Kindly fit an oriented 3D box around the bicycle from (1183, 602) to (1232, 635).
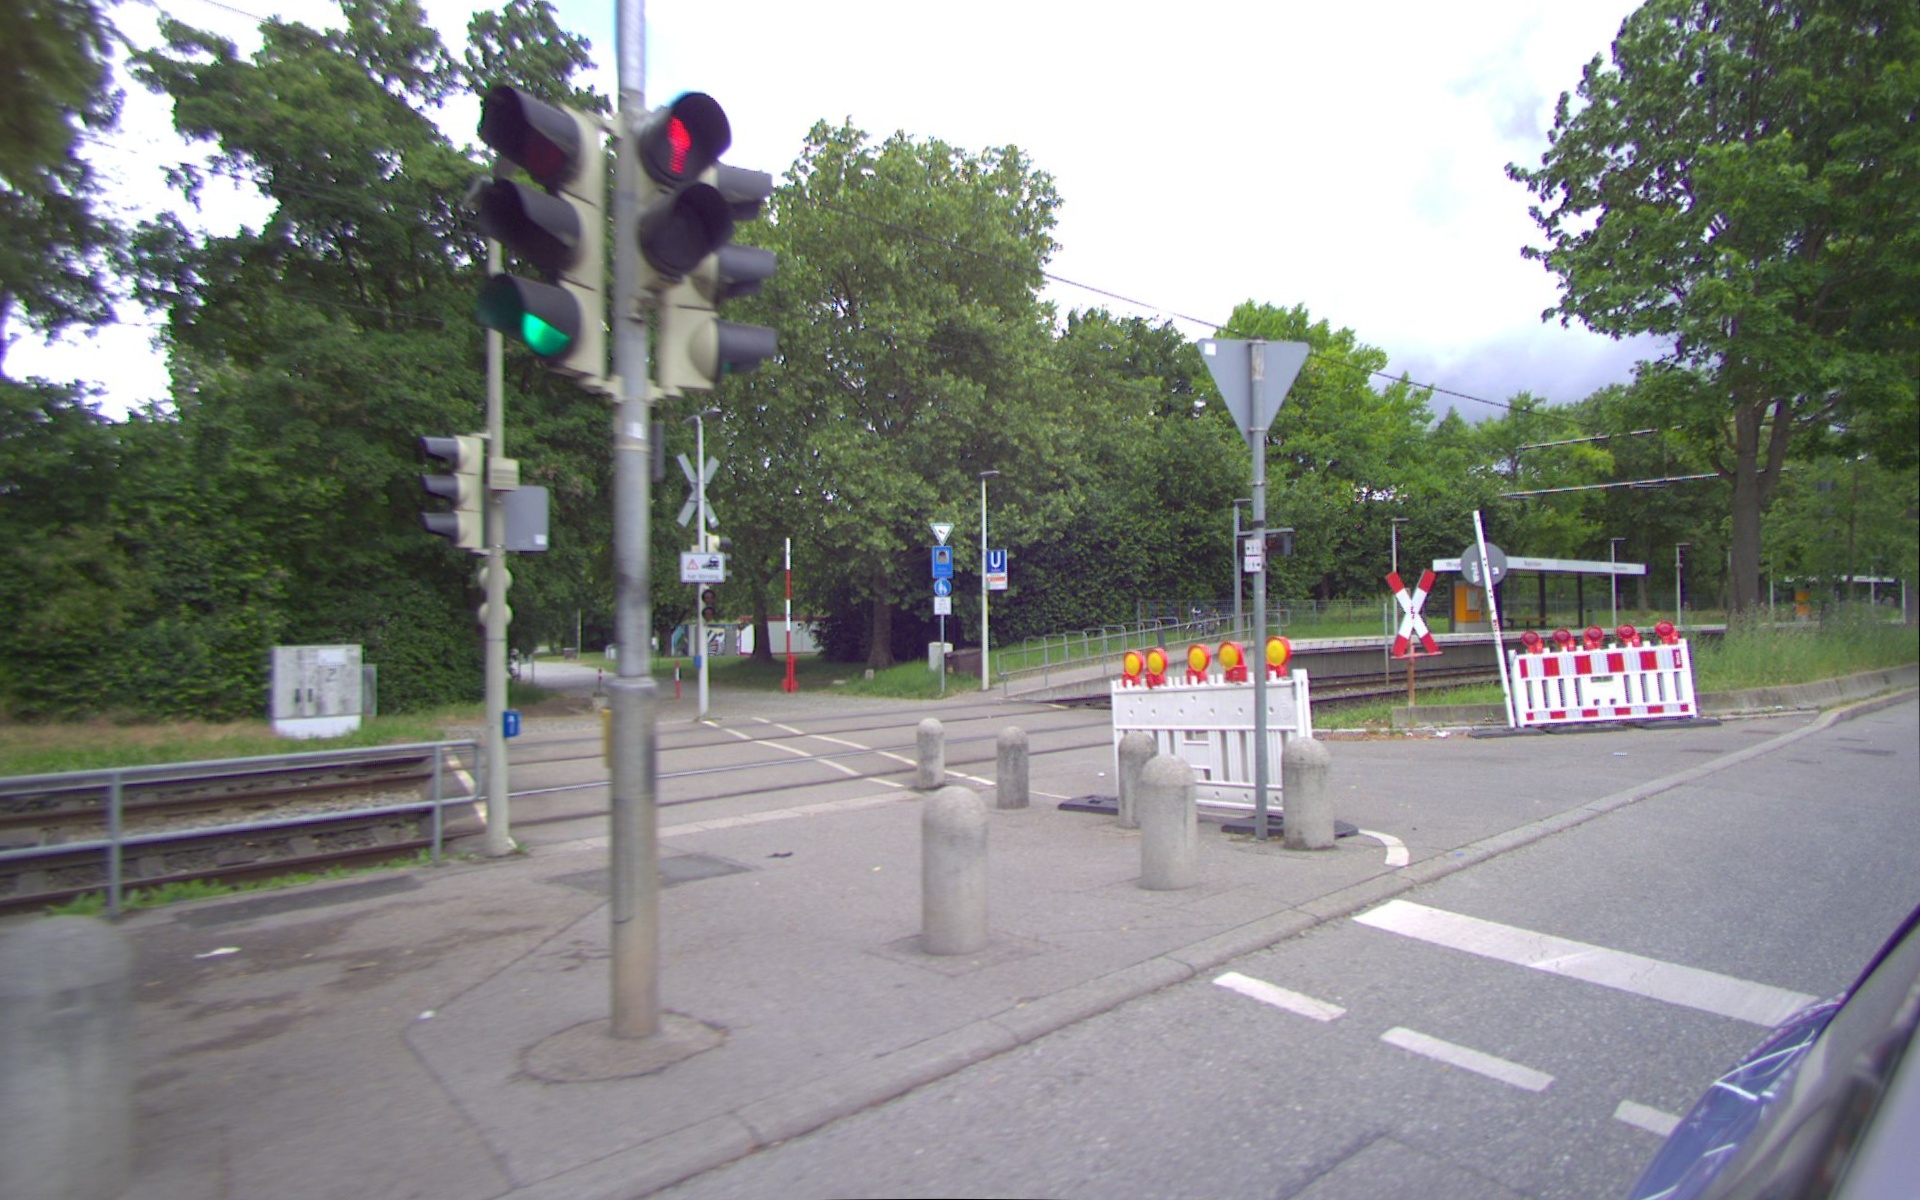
[{"bbox_3d":[7.675,0.592,31.451,0.442,0.986,1.511,1,-3,-39],"label":"bicycle"}]
